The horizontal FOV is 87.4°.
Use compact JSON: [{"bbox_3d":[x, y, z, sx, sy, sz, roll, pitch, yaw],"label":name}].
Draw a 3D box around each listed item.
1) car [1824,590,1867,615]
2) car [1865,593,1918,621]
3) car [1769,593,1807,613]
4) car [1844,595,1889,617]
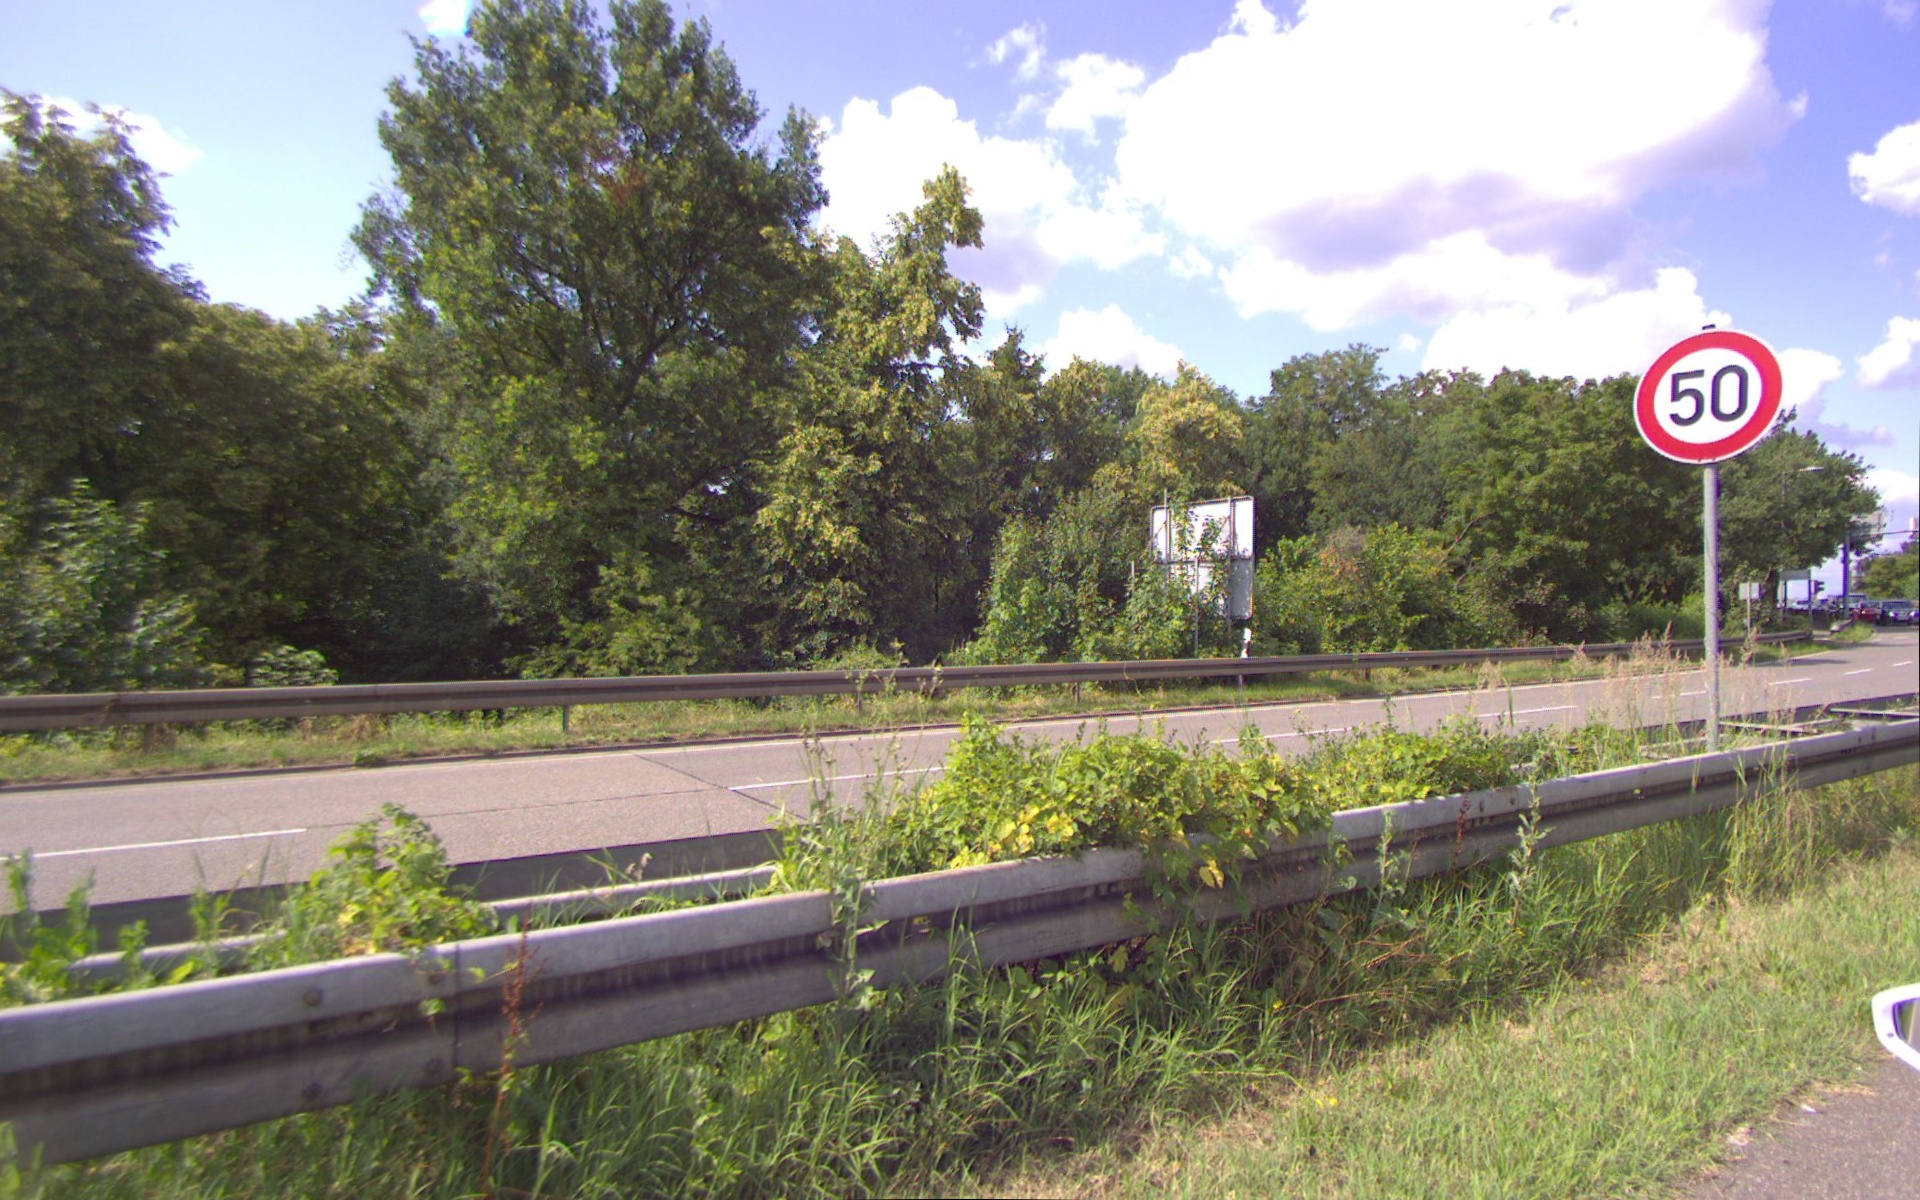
[{"bbox_3d":[66.833,0.167,75.890,1.818,1.826,4.314,-1,-1,33],"label":"car"},{"bbox_3d":[58.752,0.457,63.404,1.814,1.639,3.989,-1,-2,34],"label":"car"},{"bbox_3d":[74.087,0.277,89.906,1.816,1.728,4.319,-1,-1,29],"label":"car"},{"bbox_3d":[63.220,0.410,70.105,1.708,1.496,4.035,-1,-1,33],"label":"car"}]
